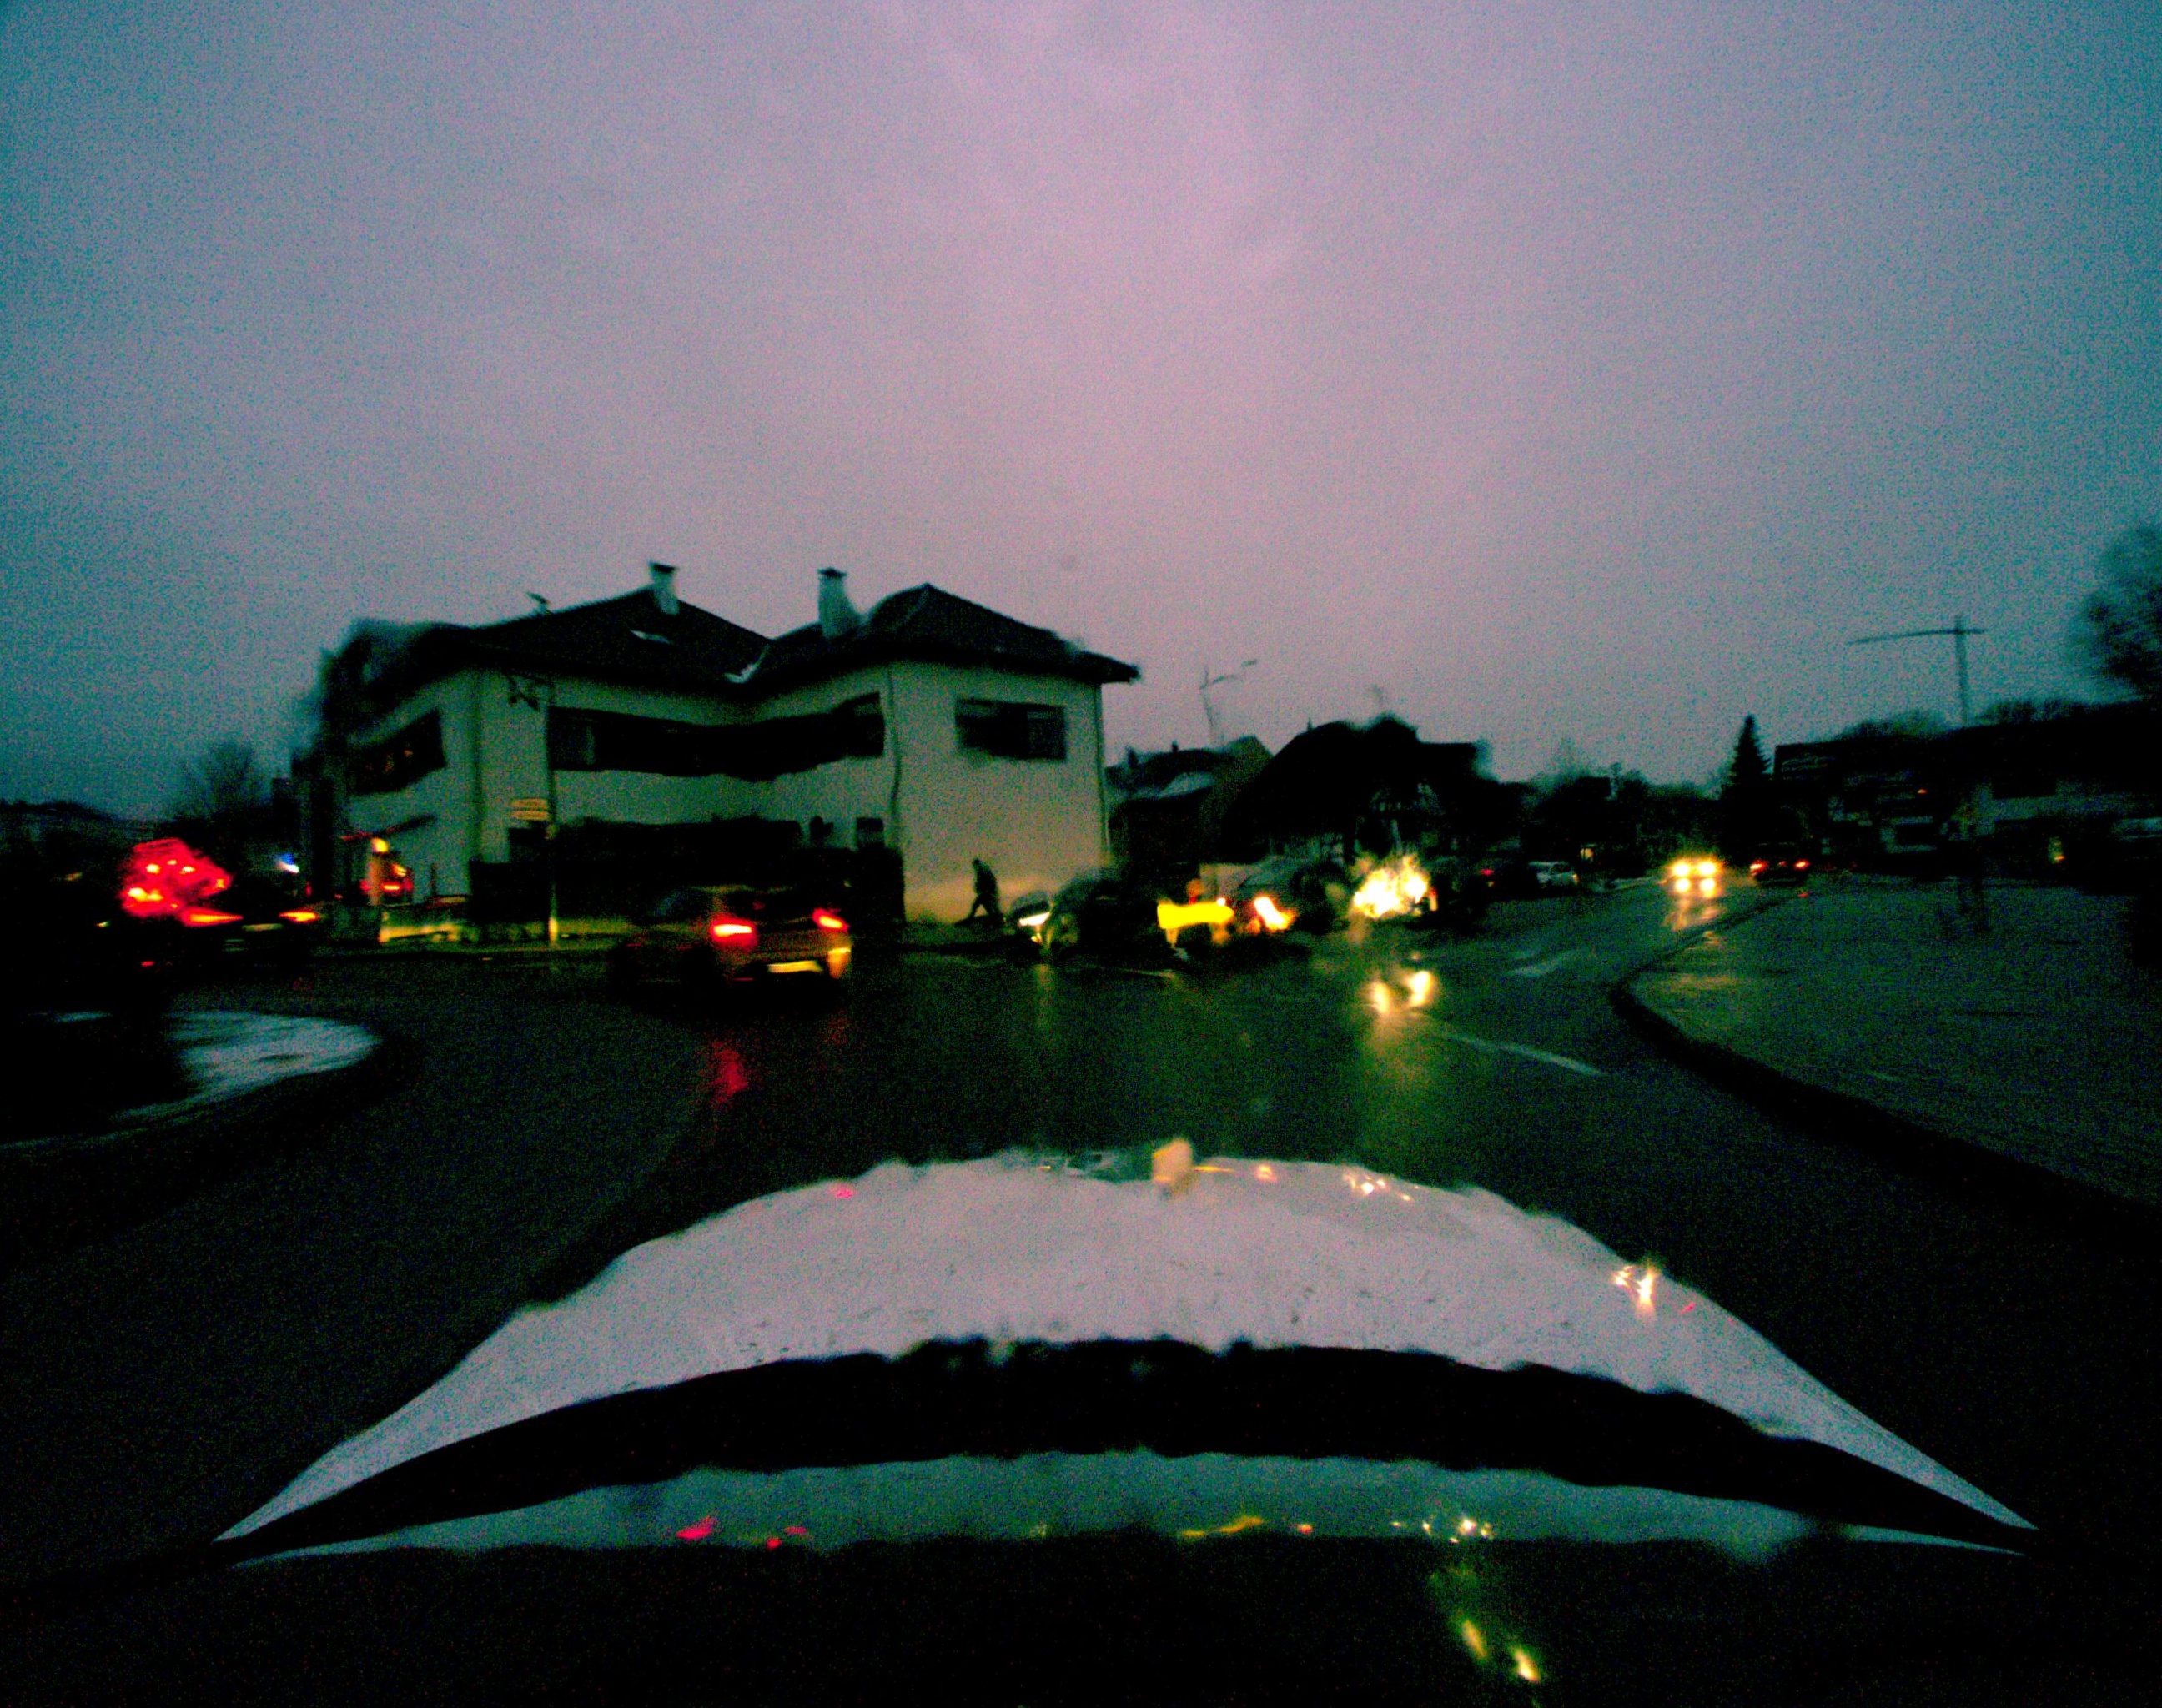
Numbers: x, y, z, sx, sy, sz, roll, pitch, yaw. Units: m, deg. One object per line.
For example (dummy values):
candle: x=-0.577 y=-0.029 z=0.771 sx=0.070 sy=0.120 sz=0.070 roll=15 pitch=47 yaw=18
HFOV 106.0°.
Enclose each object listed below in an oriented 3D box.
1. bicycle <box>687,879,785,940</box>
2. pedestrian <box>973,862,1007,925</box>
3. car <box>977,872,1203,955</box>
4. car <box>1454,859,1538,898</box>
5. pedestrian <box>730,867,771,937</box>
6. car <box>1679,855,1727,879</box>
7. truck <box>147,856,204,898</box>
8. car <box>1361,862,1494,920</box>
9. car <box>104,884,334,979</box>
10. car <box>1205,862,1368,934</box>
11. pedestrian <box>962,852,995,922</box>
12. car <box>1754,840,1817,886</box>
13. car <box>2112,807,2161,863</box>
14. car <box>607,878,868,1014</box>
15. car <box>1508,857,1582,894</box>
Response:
bicycle: x=-7.760 y=1.235 z=18.363 sx=1.931 sy=1.295 sz=0.551 roll=-1 pitch=1 yaw=-3
pedestrian: x=-2.391 y=1.014 z=21.297 sx=0.719 sy=1.621 sz=0.577 roll=-1 pitch=-1 yaw=-26
car: x=0.230 y=1.143 z=16.451 sx=4.252 sy=1.384 sz=1.831 roll=-1 pitch=-3 yaw=-34
car: x=17.122 y=0.967 z=33.573 sx=3.728 sy=1.466 sz=1.708 roll=-1 pitch=0 yaw=-39
pedestrian: x=-7.574 y=1.084 z=18.683 sx=0.688 sy=1.564 sz=0.609 roll=-1 pitch=0 yaw=-3
car: x=40.692 y=0.855 z=53.272 sx=4.022 sy=1.453 sz=1.859 roll=-1 pitch=0 yaw=-43
truck: x=-68.683 y=1.716 z=61.857 sx=5.916 sy=3.010 sz=2.740 roll=-1 pitch=-1 yaw=43
car: x=10.216 y=1.040 z=23.904 sx=4.278 sy=1.508 sz=1.677 roll=-1 pitch=-2 yaw=-38
car: x=-17.061 y=1.441 z=16.133 sx=3.902 sy=1.615 sz=1.933 roll=-1 pitch=0 yaw=24
car: x=5.062 y=1.011 z=19.853 sx=4.018 sy=1.552 sz=1.678 roll=0 pitch=-2 yaw=-37
pedestrian: x=-2.764 y=0.871 z=21.976 sx=0.719 sy=1.832 sz=0.632 roll=-1 pitch=1 yaw=-25
car: x=34.563 y=0.424 z=39.894 sx=1.974 sy=2.014 sz=4.929 roll=-7 pitch=-5 yaw=43
car: x=41.133 y=-0.706 z=30.877 sx=4.885 sy=2.014 sz=2.188 roll=0 pitch=-2 yaw=-41
car: x=-4.646 y=1.085 z=10.731 sx=3.962 sy=1.422 sz=1.726 roll=-3 pitch=-2 yaw=43
car: x=21.113 y=0.926 z=36.995 sx=3.736 sy=1.550 sz=1.654 roll=-1 pitch=0 yaw=-39
